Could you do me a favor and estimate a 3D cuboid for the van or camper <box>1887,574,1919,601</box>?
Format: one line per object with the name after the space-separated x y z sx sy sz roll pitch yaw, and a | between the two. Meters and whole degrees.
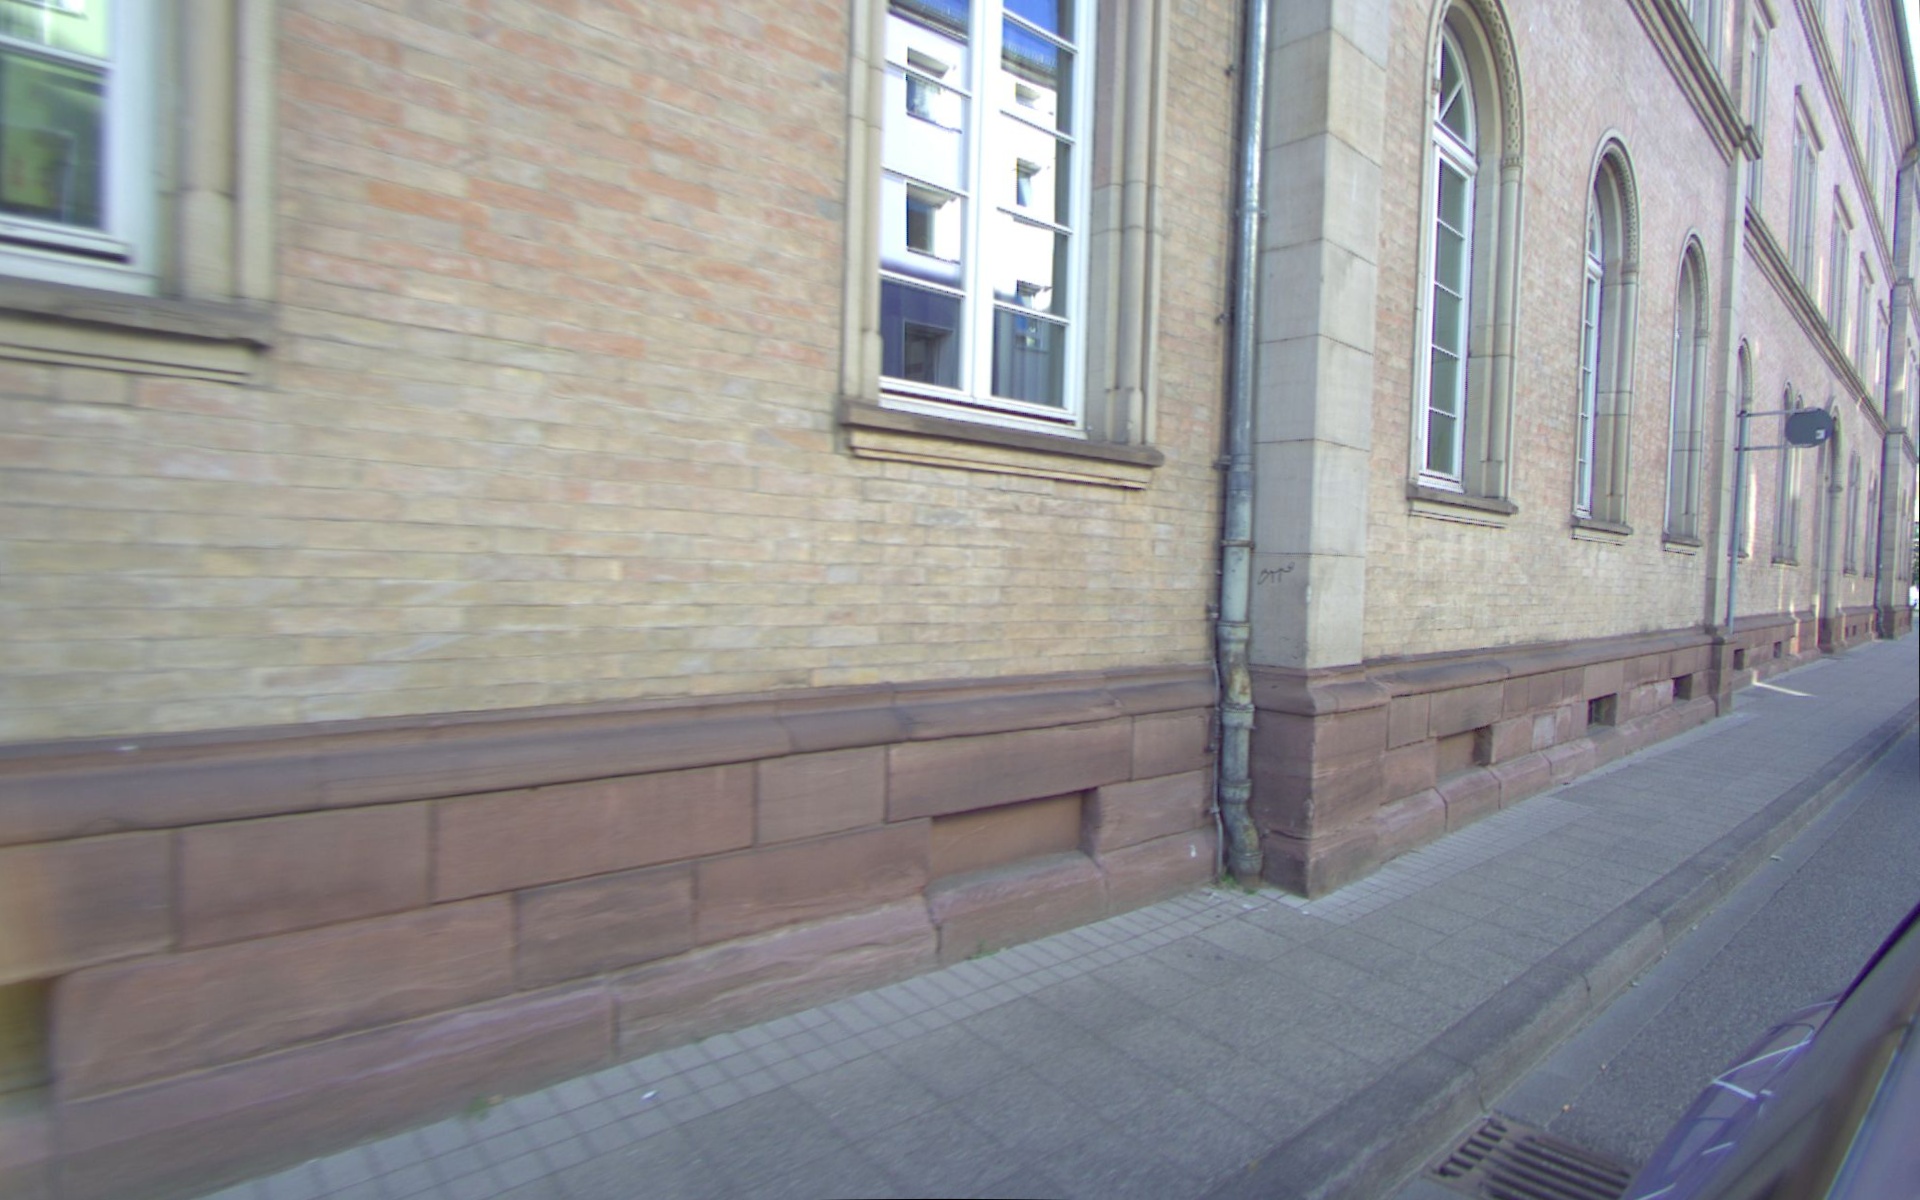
75.610 -1.001 80.460 2.149 2.038 4.915 3 3 35 | van or camper
